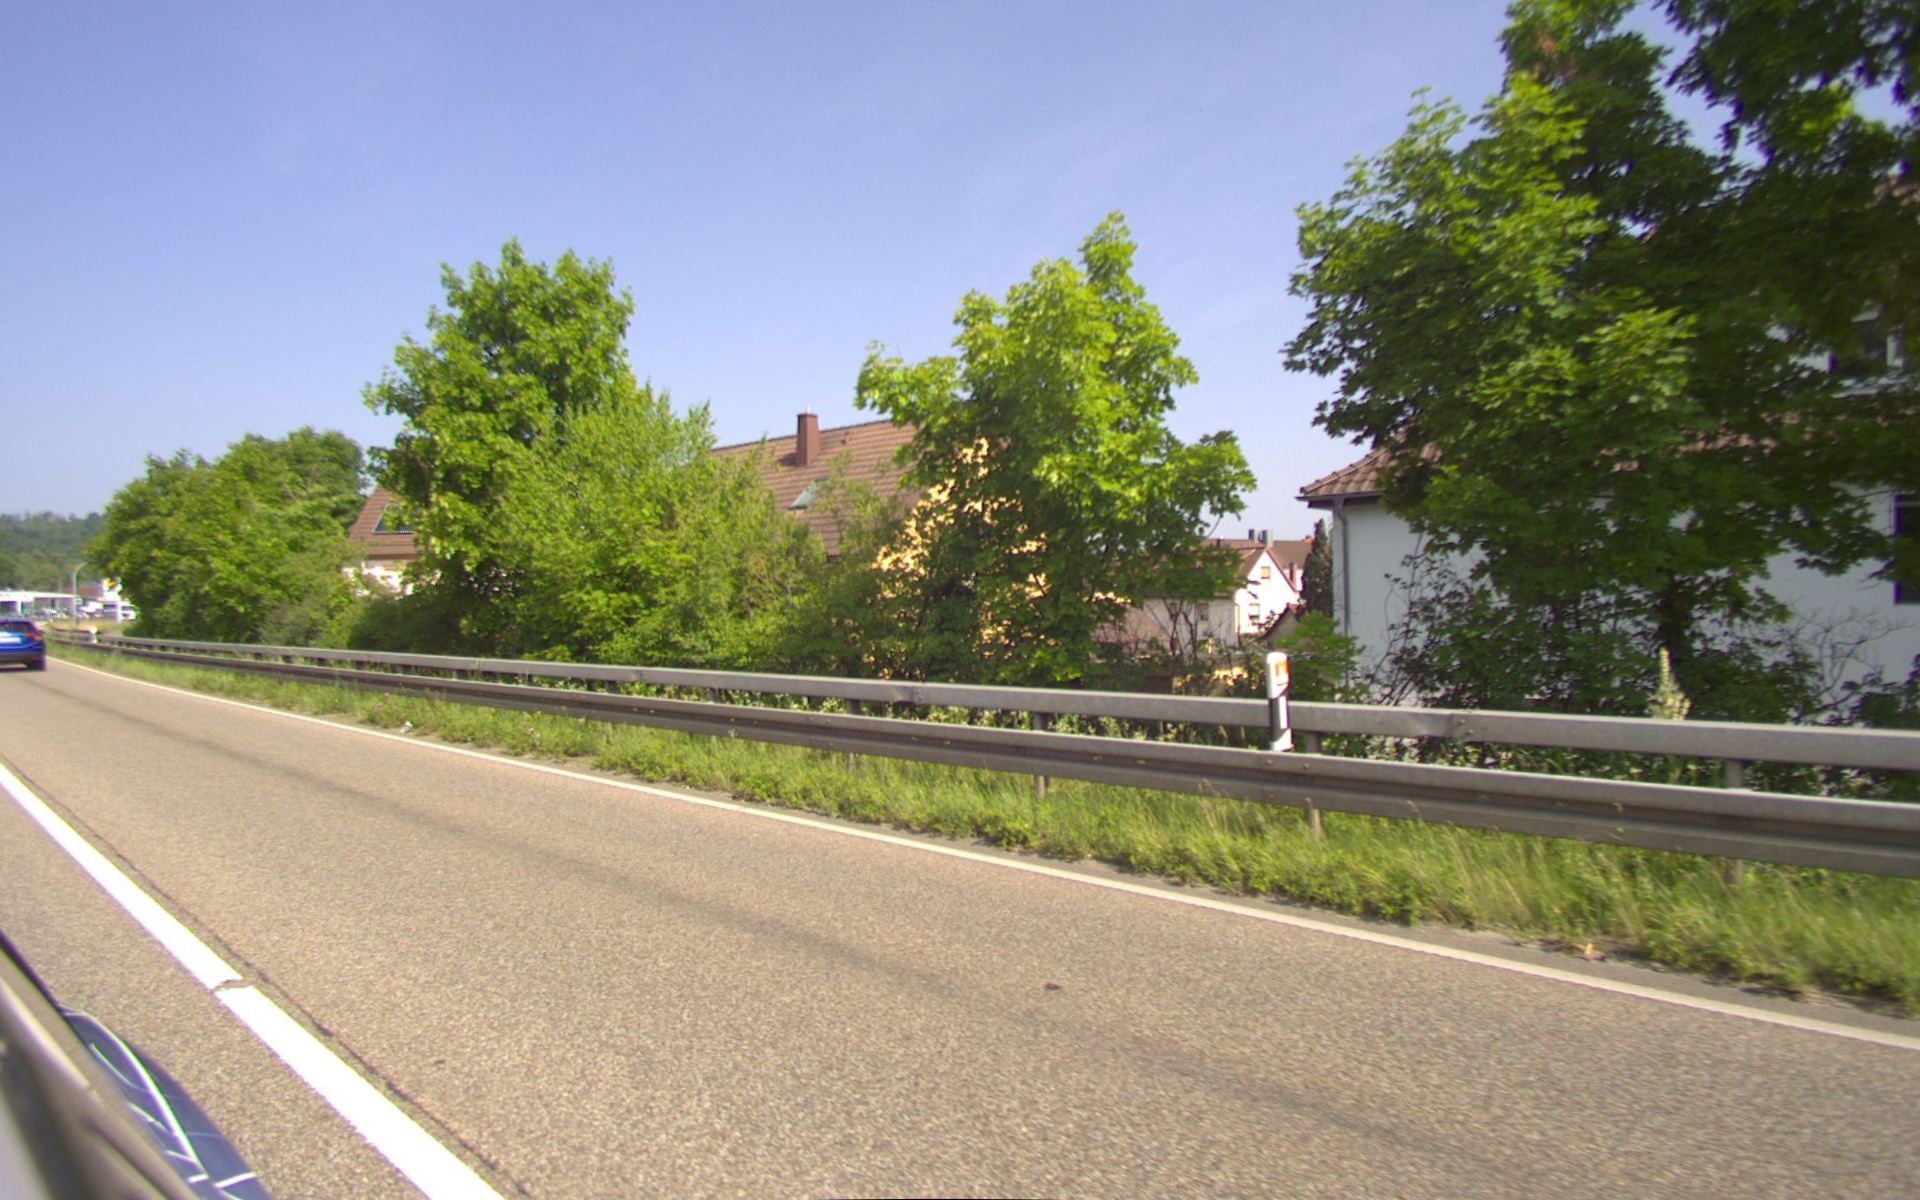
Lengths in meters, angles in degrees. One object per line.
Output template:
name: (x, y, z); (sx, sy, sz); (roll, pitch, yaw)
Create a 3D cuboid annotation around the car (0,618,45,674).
car: (-28.537, 1.308, 29.893); (3.991, 1.572, 1.788); (-1, -2, 42)

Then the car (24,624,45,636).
car: (-113.344, 3.658, 123.955); (1.737, 1.421, 3.992); (2, -2, -44)
